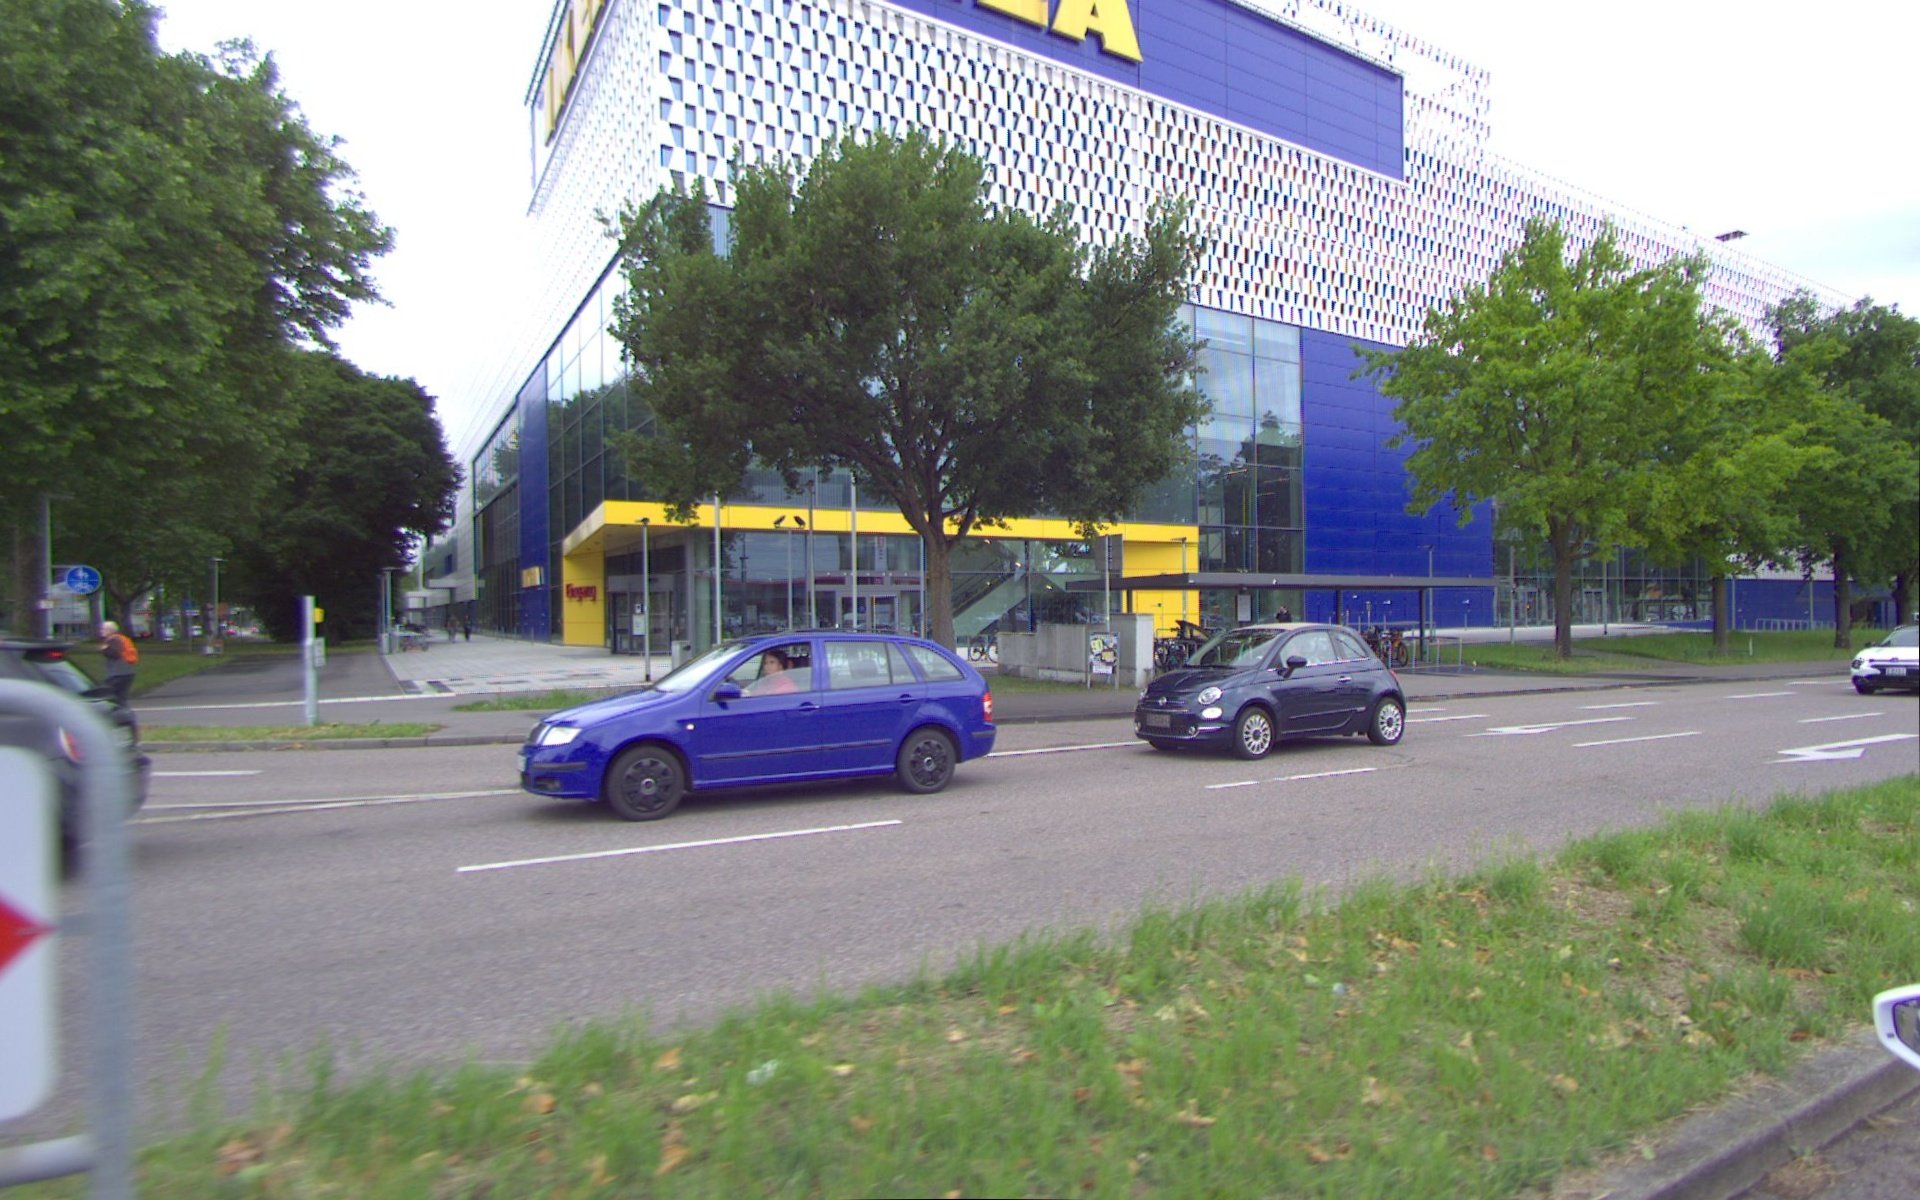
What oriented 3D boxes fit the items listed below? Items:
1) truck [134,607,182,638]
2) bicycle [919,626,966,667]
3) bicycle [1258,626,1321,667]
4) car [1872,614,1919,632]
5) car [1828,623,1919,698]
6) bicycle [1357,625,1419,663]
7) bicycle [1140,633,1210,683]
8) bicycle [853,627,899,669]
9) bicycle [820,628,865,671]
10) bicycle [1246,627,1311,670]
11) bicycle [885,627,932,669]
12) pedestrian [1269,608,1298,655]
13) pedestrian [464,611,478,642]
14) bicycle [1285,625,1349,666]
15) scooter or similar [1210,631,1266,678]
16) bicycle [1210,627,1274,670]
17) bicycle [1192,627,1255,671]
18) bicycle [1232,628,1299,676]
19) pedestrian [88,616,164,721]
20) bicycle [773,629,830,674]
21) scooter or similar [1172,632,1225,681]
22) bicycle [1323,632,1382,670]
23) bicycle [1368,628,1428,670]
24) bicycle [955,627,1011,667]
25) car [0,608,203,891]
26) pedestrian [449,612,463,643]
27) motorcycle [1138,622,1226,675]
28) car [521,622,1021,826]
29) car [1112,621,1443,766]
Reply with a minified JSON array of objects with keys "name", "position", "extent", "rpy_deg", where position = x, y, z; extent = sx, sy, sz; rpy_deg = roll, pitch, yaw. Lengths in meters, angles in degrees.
[{"name":"truck","position":[-100.380,2.831,125.875],"extent":[3.225,3.711,9.814],"rpy_deg":[2,-3,-31]},{"name":"bicycle","position":[-0.571,1.463,31.902],"extent":[0.587,1.172,2.005],"rpy_deg":[0,1,-30]},{"name":"bicycle","position":[10.294,1.432,31.462],"extent":[0.586,1.172,2.007],"rpy_deg":[0,1,-29]},{"name":"car","position":[108.334,2.655,115.262],"extent":[1.859,1.990,5.104],"rpy_deg":[-4,1,-32]},{"name":"car","position":[21.266,1.313,22.117],"extent":[4.131,1.538,1.923],"rpy_deg":[1,-4,-29]},{"name":"bicycle","position":[14.415,1.458,33.866],"extent":[0.586,1.137,2.008],"rpy_deg":[1,1,-27]},{"name":"bicycle","position":[5.500,1.459,25.765],"extent":[0.586,1.172,2.007],"rpy_deg":[0,-1,-29]},{"name":"bicycle","position":[-2.579,1.450,30.761],"extent":[0.587,1.172,2.005],"rpy_deg":[0,1,-30]},{"name":"bicycle","position":[-3.573,1.479,30.303],"extent":[0.587,1.172,2.005],"rpy_deg":[0,1,-30]},{"name":"bicycle","position":[9.621,1.456,30.417],"extent":[0.586,1.172,2.007],"rpy_deg":[0,1,-29]},{"name":"bicycle","position":[-1.630,1.474,31.301],"extent":[0.587,1.172,2.005],"rpy_deg":[0,1,-30]},{"name":"pedestrian","position":[12.447,1.209,38.645],"extent":[0.798,1.769,0.674],"rpy_deg":[0,0,-30]},{"name":"pedestrian","position":[-32.740,1.765,67.269],"extent":[0.733,2.040,0.663],"rpy_deg":[-2,1,-30]},{"name":"bicycle","position":[11.397,1.447,32.123],"extent":[0.586,1.172,2.007],"rpy_deg":[0,1,-29]},{"name":"scooter or similar","position":[7.200,1.409,26.021],"extent":[1.322,1.164,0.424],"rpy_deg":[1,1,2]},{"name":"bicycle","position":[8.431,1.427,30.073],"extent":[0.586,1.172,2.007],"rpy_deg":[0,1,-29]},{"name":"bicycle","position":[7.793,1.420,29.781],"extent":[0.586,1.172,2.007],"rpy_deg":[0,1,-29]},{"name":"bicycle","position":[8.395,1.416,27.705],"extent":[0.586,1.172,1.885],"rpy_deg":[0,1,-29]},{"name":"pedestrian","position":[-13.602,1.104,16.397],"extent":[0.800,1.664,0.629],"rpy_deg":[3,-2,-32]},{"name":"bicycle","position":[-4.670,1.490,29.444],"extent":[1.995,1.172,0.590],"rpy_deg":[2,1,45]},{"name":"scooter or similar","position":[6.139,1.452,25.901],"extent":[1.266,1.201,0.359],"rpy_deg":[1,1,8]},{"name":"bicycle","position":[12.672,1.624,32.503],"extent":[0.586,1.096,1.801],"rpy_deg":[1,1,-29]},{"name":"bicycle","position":[13.623,1.493,31.312],"extent":[0.584,1.172,2.016],"rpy_deg":[1,1,-15]},{"name":"bicycle","position":[0.724,1.518,32.589],"extent":[0.589,1.172,1.997],"rpy_deg":[0,1,-42]},{"name":"car","position":[-6.758,0.816,5.443],"extent":[4.017,1.522,1.654],"rpy_deg":[1,-3,-31]},{"name":"pedestrian","position":[-33.520,1.837,66.786],"extent":[0.733,2.040,0.663],"rpy_deg":[-2,1,-30]},{"name":"motorcycle","position":[6.390,1.377,29.046],"extent":[0.794,1.373,2.470],"rpy_deg":[0,1,-41]},{"name":"car","position":[-1.592,0.972,8.946],"extent":[4.095,1.463,1.595],"rpy_deg":[1,-3,-31]},{"name":"car","position":[3.931,1.051,12.286],"extent":[3.990,1.517,1.595],"rpy_deg":[1,-3,-31]}]
